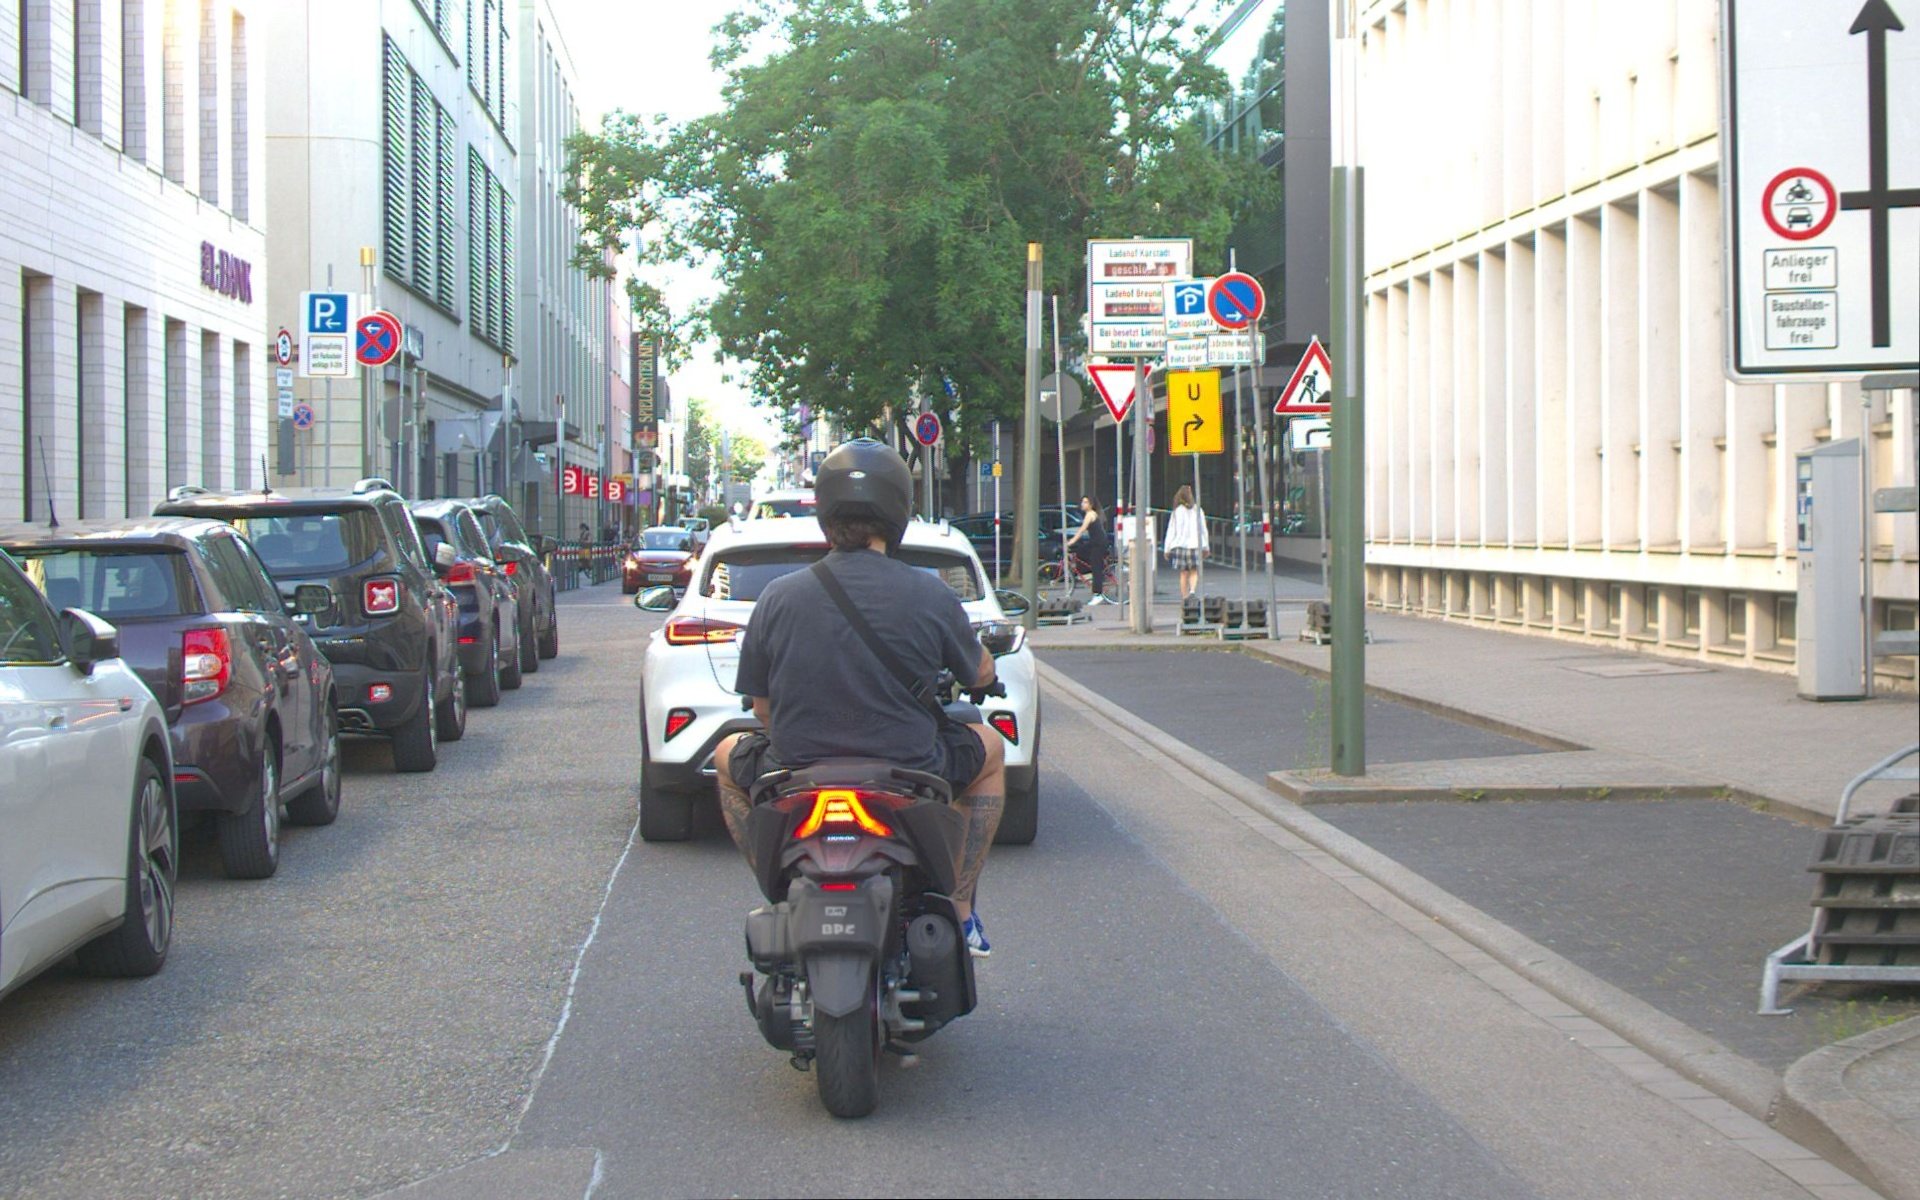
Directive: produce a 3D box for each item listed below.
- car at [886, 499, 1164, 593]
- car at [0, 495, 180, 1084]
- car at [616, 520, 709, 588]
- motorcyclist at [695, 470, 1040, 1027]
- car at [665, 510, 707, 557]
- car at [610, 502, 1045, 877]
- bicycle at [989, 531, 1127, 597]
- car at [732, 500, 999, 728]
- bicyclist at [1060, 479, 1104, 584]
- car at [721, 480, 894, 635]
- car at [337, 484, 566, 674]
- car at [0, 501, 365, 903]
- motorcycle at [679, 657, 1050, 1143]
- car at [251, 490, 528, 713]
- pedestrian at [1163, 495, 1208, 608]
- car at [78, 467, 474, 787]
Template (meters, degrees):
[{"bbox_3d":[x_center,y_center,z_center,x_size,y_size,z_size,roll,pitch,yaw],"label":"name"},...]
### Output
[{"bbox_3d":[1.198,-1.029,65.251,5.003,1.447,2.000,-4,1,-5],"label":"car"},{"bbox_3d":[-3.500,0.506,9.693,1.822,1.536,4.447,-2,2,-4],"label":"car"},{"bbox_3d":[-6.735,-1.033,78.222,1.822,1.460,4.264,0,0,-1],"label":"car"},{"bbox_3d":[-0.246,0.380,9.058,0.867,1.422,0.455,1,0,-2],"label":"motorcyclist"},{"bbox_3d":[-14.197,-3.460,178.088,1.993,2.321,5.022,2,1,-6],"label":"car"},{"bbox_3d":[-0.715,0.322,16.925,1.822,1.536,4.265,-2,2,-4],"label":"car"},{"bbox_3d":[1.522,-0.554,53.534,2.102,0.991,0.518,1,0,-2],"label":"bicycle"},{"bbox_3d":[-0.808,0.037,26.504,1.822,1.536,4.365,-2,2,-4],"label":"car"},{"bbox_3d":[1.900,-1.064,53.530,0.630,1.620,0.498,1,0,-2],"label":"bicyclist"},{"bbox_3d":[-1.821,-0.539,39.851,1.822,1.639,4.495,-2,2,-4],"label":"car"},{"bbox_3d":[-4.865,-0.260,33.417,1.822,1.672,4.265,-2,2,-4],"label":"car"},{"bbox_3d":[-3.876,0.357,15.661,1.822,1.536,4.265,-2,2,-4],"label":"car"},{"bbox_3d":[-0.261,0.734,9.146,0.872,1.105,1.840,1,1,-2],"label":"motorcycle"},{"bbox_3d":[-4.469,-0.057,27.456,1.739,1.589,4.155,-2,2,-4],"label":"car"},{"bbox_3d":[3.167,-0.678,48.332,0.559,1.578,0.598,1,0,-1],"label":"pedestrian"},{"bbox_3d":[-4.071,0.083,21.071,1.822,1.708,4.019,-2,2,-4],"label":"car"}]
